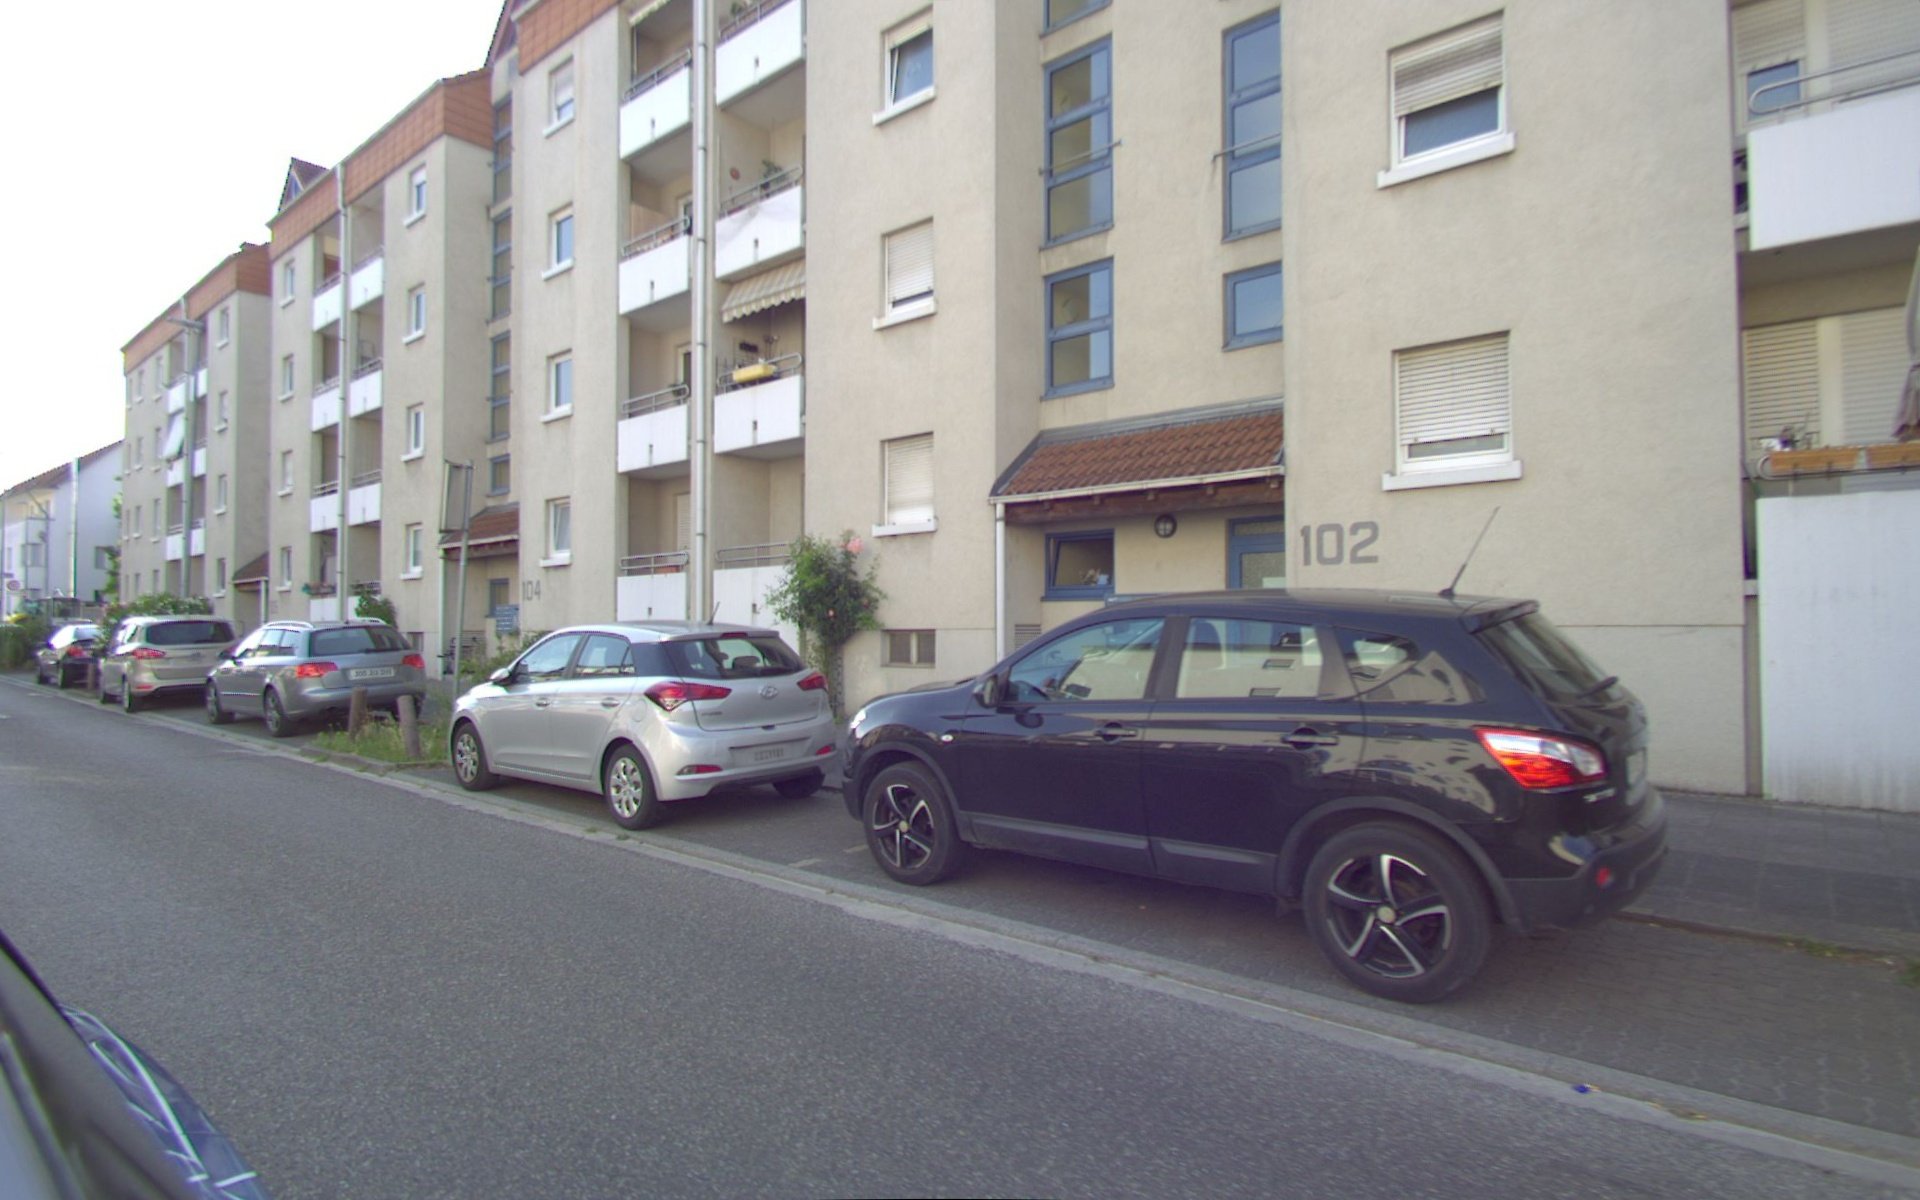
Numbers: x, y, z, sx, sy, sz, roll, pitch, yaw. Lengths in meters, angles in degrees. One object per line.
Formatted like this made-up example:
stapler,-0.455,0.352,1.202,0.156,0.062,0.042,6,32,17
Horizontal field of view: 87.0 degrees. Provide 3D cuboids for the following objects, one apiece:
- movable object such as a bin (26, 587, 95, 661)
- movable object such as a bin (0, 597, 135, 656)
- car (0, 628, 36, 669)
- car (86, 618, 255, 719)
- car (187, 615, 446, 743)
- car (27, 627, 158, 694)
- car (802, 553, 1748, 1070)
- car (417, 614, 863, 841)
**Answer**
movable object such as a bin,-40.045,1.095,45.035,3.895,3.162,1.631,-2,-3,39
movable object such as a bin,-47.045,1.363,53.089,2.102,2.923,5.462,-2,-2,28
car,-34.072,1.699,35.718,3.667,1.406,1.624,-1,-2,39
car,-14.117,1.138,18.025,3.964,1.567,1.708,-1,-1,42
car,-9.125,1.004,14.219,4.365,1.532,1.789,-2,-1,39
car,-20.353,1.361,23.700,4.080,1.416,1.669,-2,-1,40
car,1.262,0.706,5.228,4.366,1.615,1.669,-1,-1,40
car,-2.865,0.882,8.564,4.138,1.465,1.669,-2,-2,40
